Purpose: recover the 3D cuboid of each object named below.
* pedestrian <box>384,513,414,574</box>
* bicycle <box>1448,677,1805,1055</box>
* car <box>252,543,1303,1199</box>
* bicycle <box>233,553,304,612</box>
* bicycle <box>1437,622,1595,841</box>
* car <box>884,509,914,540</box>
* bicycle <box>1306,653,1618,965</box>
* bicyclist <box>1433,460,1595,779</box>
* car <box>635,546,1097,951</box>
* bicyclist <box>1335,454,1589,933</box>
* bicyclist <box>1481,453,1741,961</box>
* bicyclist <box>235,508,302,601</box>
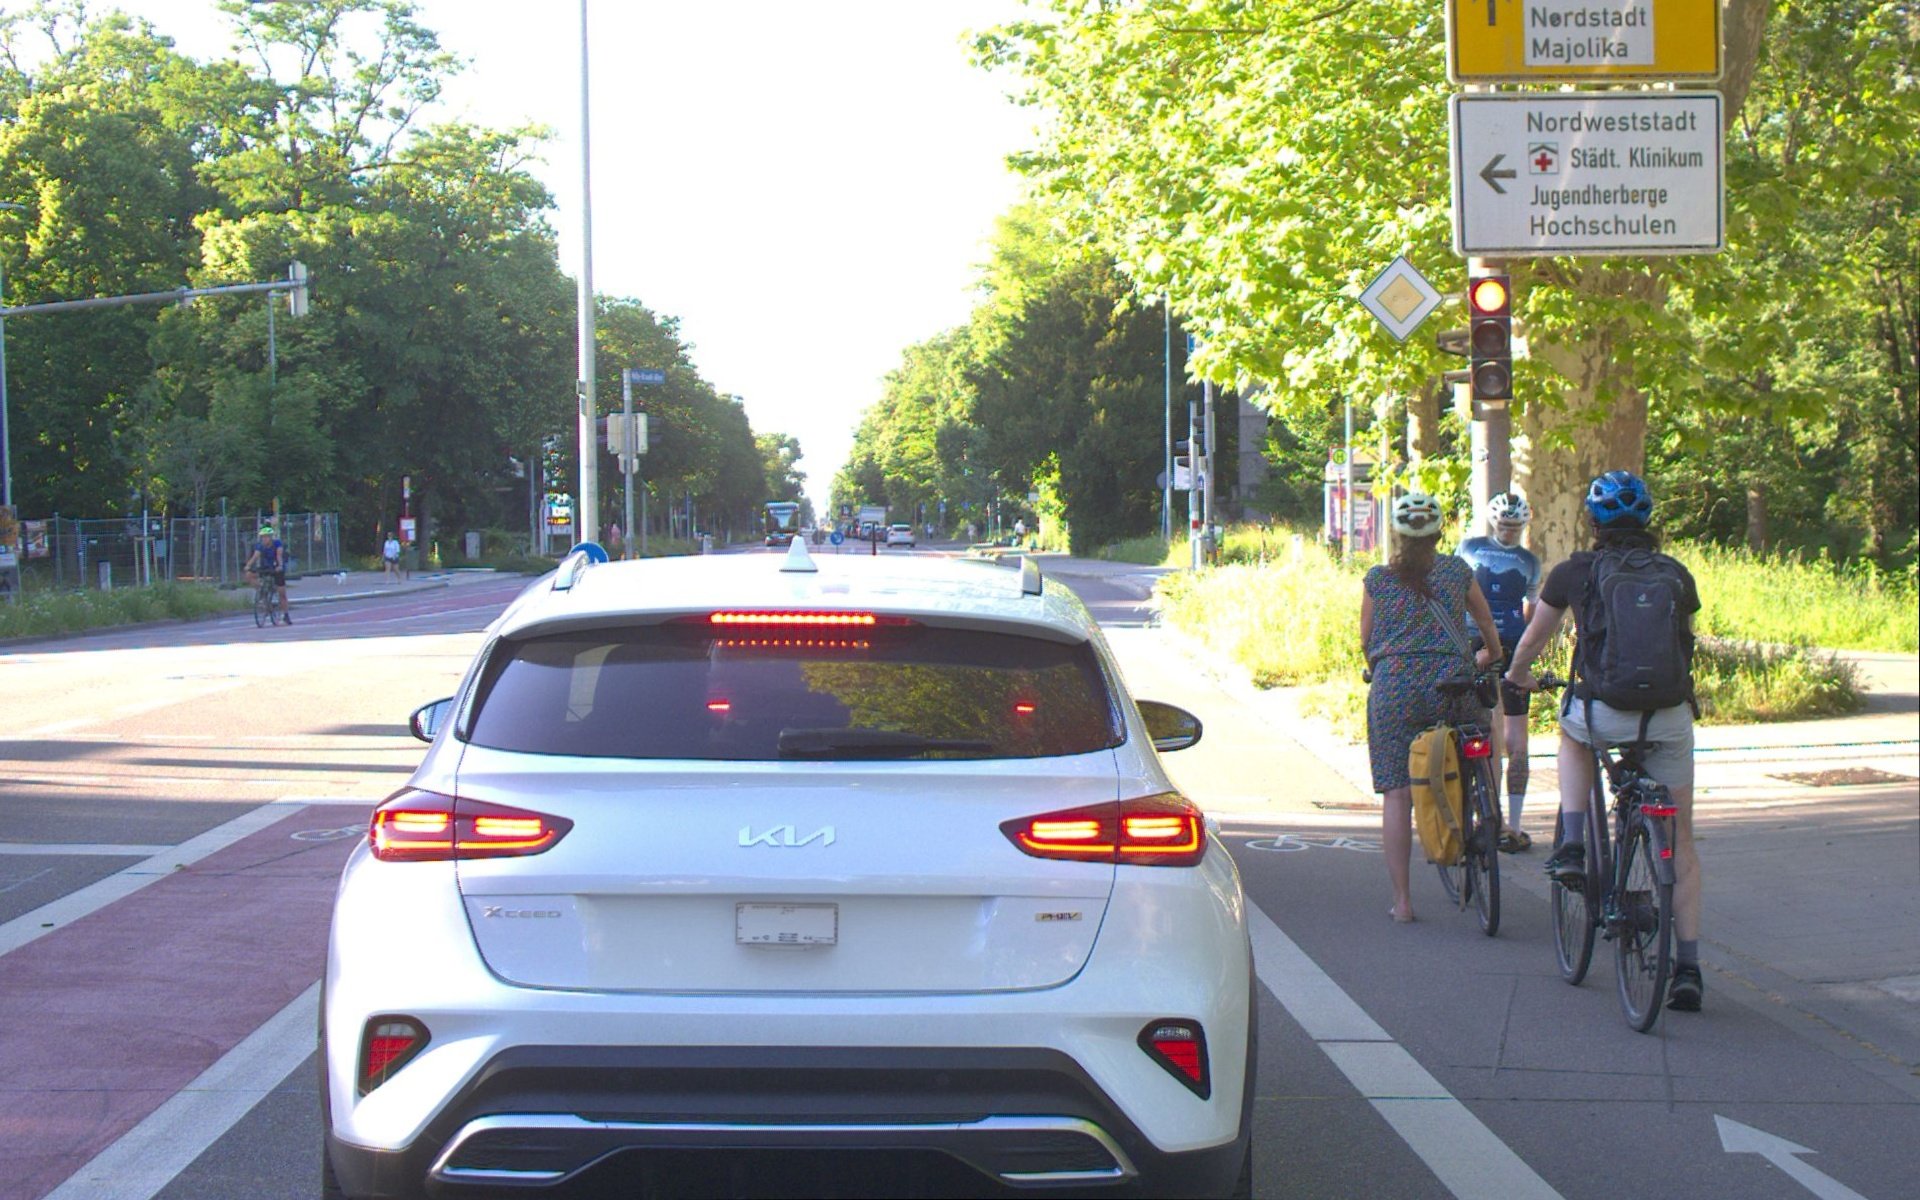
[{"bbox_3d":[-16.623,-1.670,101.893,0.785,1.779,0.751,0,1,0],"label":"pedestrian"},{"bbox_3d":[2.101,0.804,11.113,0.668,1.006,2.081,1,1,-2],"label":"bicycle"},{"bbox_3d":[-0.379,0.625,7.945,1.821,1.475,3.937,0,1,-2],"label":"car"},{"bbox_3d":[-12.202,-0.320,60.703,0.663,0.985,2.504,-1,1,2],"label":"bicycle"},{"bbox_3d":[2.671,0.612,16.621,0.401,0.953,1.551,-4,1,-2],"label":"bicycle"},{"bbox_3d":[-4.086,-5.076,231.123,1.993,2.007,4.000,-2,1,-1],"label":"car"},{"bbox_3d":[1.939,0.774,13.679,0.758,1.009,2.570,1,1,-2],"label":"bicycle"},{"bbox_3d":[2.660,0.088,16.555,0.554,1.473,0.717,-4,1,-2],"label":"bicyclist"},{"bbox_3d":[-0.426,0.538,14.877,1.728,1.478,3.517,-1,1,-2],"label":"car"},{"bbox_3d":[1.954,0.340,13.527,0.753,1.789,1.165,1,1,-2],"label":"bicyclist"},{"bbox_3d":[2.106,0.331,11.193,0.665,1.596,0.721,1,1,-2],"label":"bicyclist"},{"bbox_3d":[-12.214,-0.814,60.779,0.875,1.603,1.188,-1,1,1],"label":"bicyclist"}]
